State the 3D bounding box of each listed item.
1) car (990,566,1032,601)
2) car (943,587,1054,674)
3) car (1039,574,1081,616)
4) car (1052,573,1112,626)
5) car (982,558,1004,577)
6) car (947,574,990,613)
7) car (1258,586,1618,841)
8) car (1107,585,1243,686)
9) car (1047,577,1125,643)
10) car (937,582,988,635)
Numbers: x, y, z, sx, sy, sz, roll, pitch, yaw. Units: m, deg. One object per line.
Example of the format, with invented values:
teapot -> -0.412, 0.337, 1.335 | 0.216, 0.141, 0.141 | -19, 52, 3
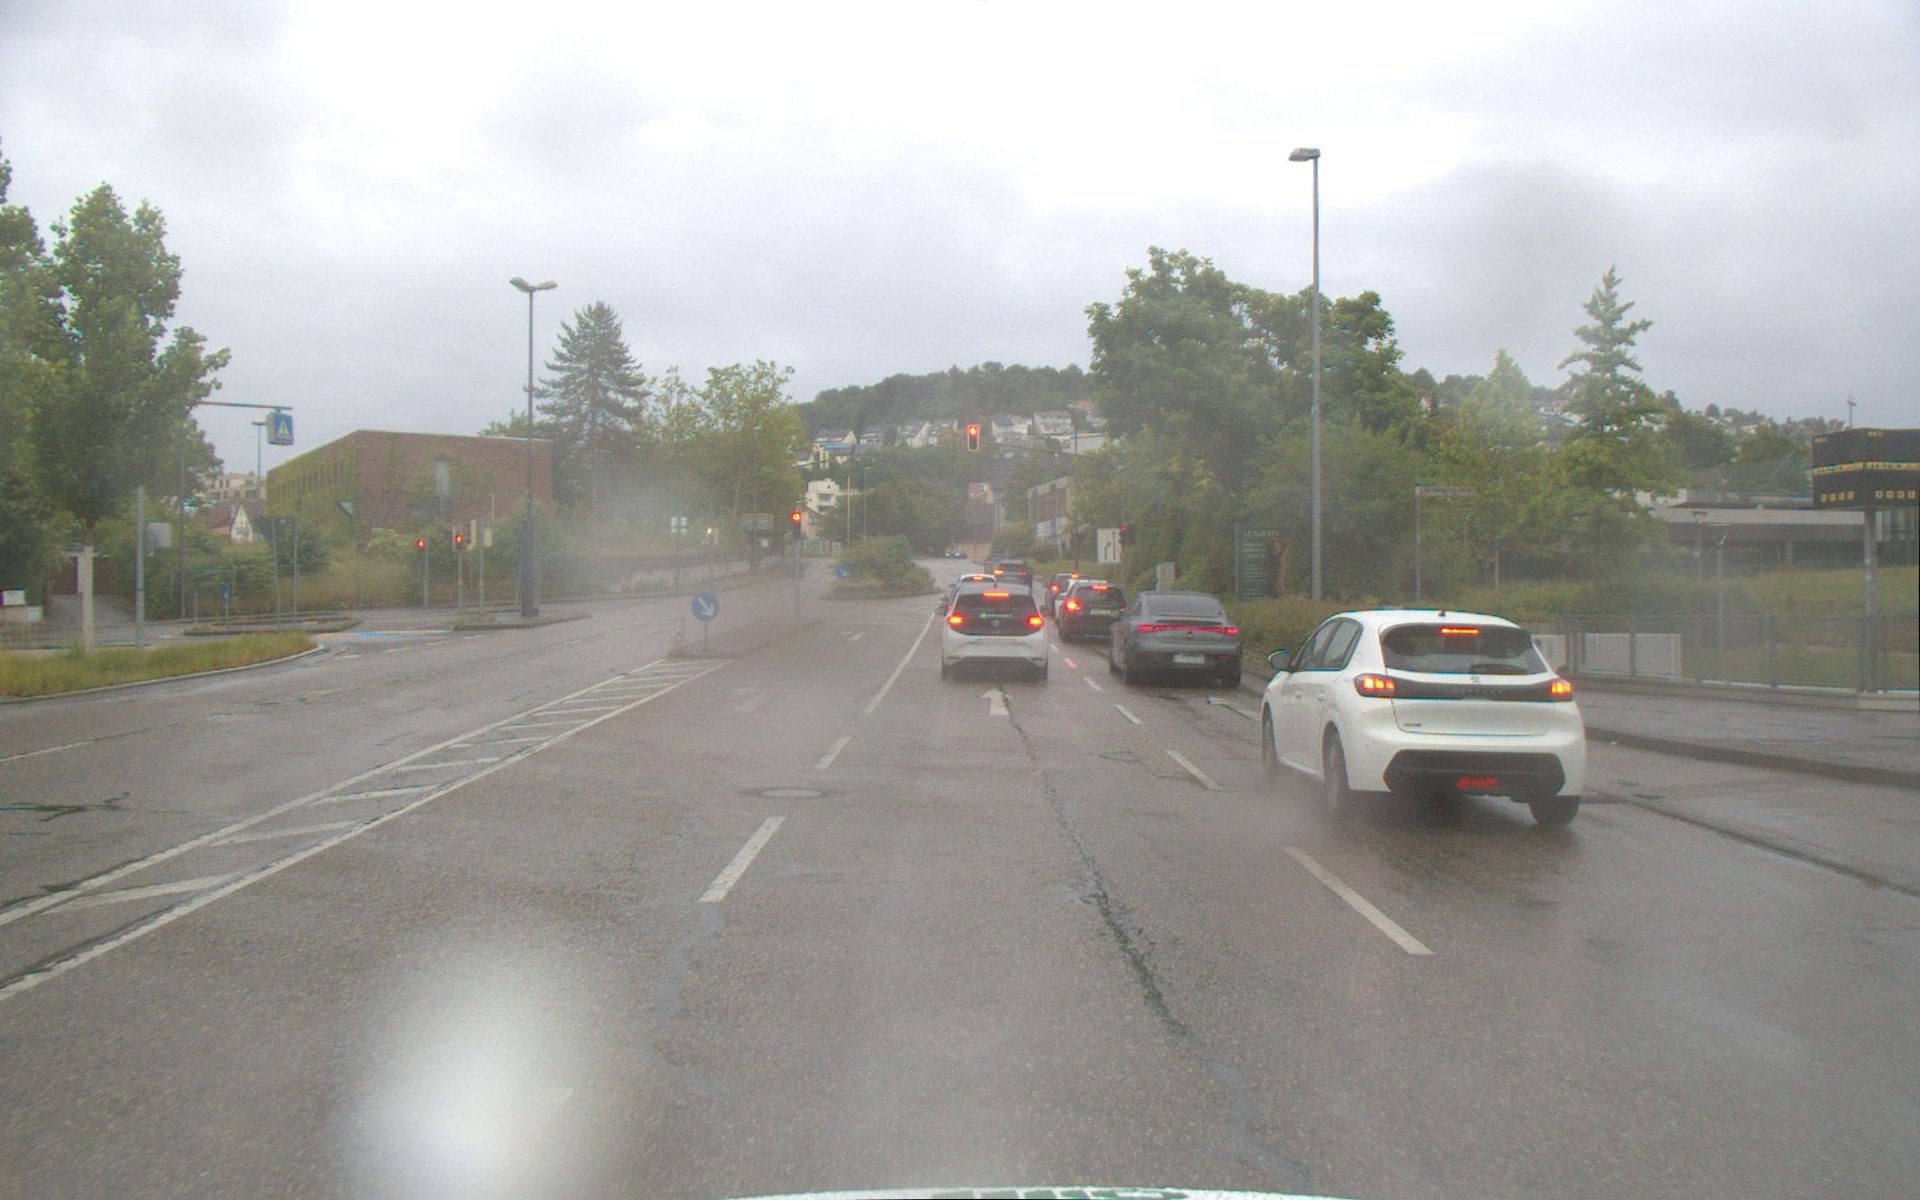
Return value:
car -> 2.589, -0.833, 84.593 | 1.759, 1.596, 3.523 | -1, -2, -4
car -> 0.603, 0.516, 27.643 | 1.706, 1.318, 3.333 | -1, -1, 0
car -> 3.518, -0.192, 58.411 | 1.288, 1.421, 3.079 | -1, 1, 0
car -> 3.666, 0.017, 50.188 | 1.533, 1.422, 3.957 | -1, -2, 0
car -> 2.227, -2.219, 112.588 | 1.339, 1.177, 2.425 | -1, -2, -3
car -> 0.290, -0.203, 54.927 | 1.356, 1.146, 2.610 | -1, -2, 1
car -> 3.466, 0.723, 12.743 | 1.656, 1.545, 3.934 | 0, 2, 0
car -> 3.506, 0.540, 27.464 | 1.699, 1.412, 3.352 | 1, 3, -2
car -> 3.143, 0.280, 41.758 | 1.614, 1.511, 3.364 | -1, -2, -2
car -> 0.044, 0.229, 40.428 | 1.188, 1.176, 2.269 | -1, -2, -1
